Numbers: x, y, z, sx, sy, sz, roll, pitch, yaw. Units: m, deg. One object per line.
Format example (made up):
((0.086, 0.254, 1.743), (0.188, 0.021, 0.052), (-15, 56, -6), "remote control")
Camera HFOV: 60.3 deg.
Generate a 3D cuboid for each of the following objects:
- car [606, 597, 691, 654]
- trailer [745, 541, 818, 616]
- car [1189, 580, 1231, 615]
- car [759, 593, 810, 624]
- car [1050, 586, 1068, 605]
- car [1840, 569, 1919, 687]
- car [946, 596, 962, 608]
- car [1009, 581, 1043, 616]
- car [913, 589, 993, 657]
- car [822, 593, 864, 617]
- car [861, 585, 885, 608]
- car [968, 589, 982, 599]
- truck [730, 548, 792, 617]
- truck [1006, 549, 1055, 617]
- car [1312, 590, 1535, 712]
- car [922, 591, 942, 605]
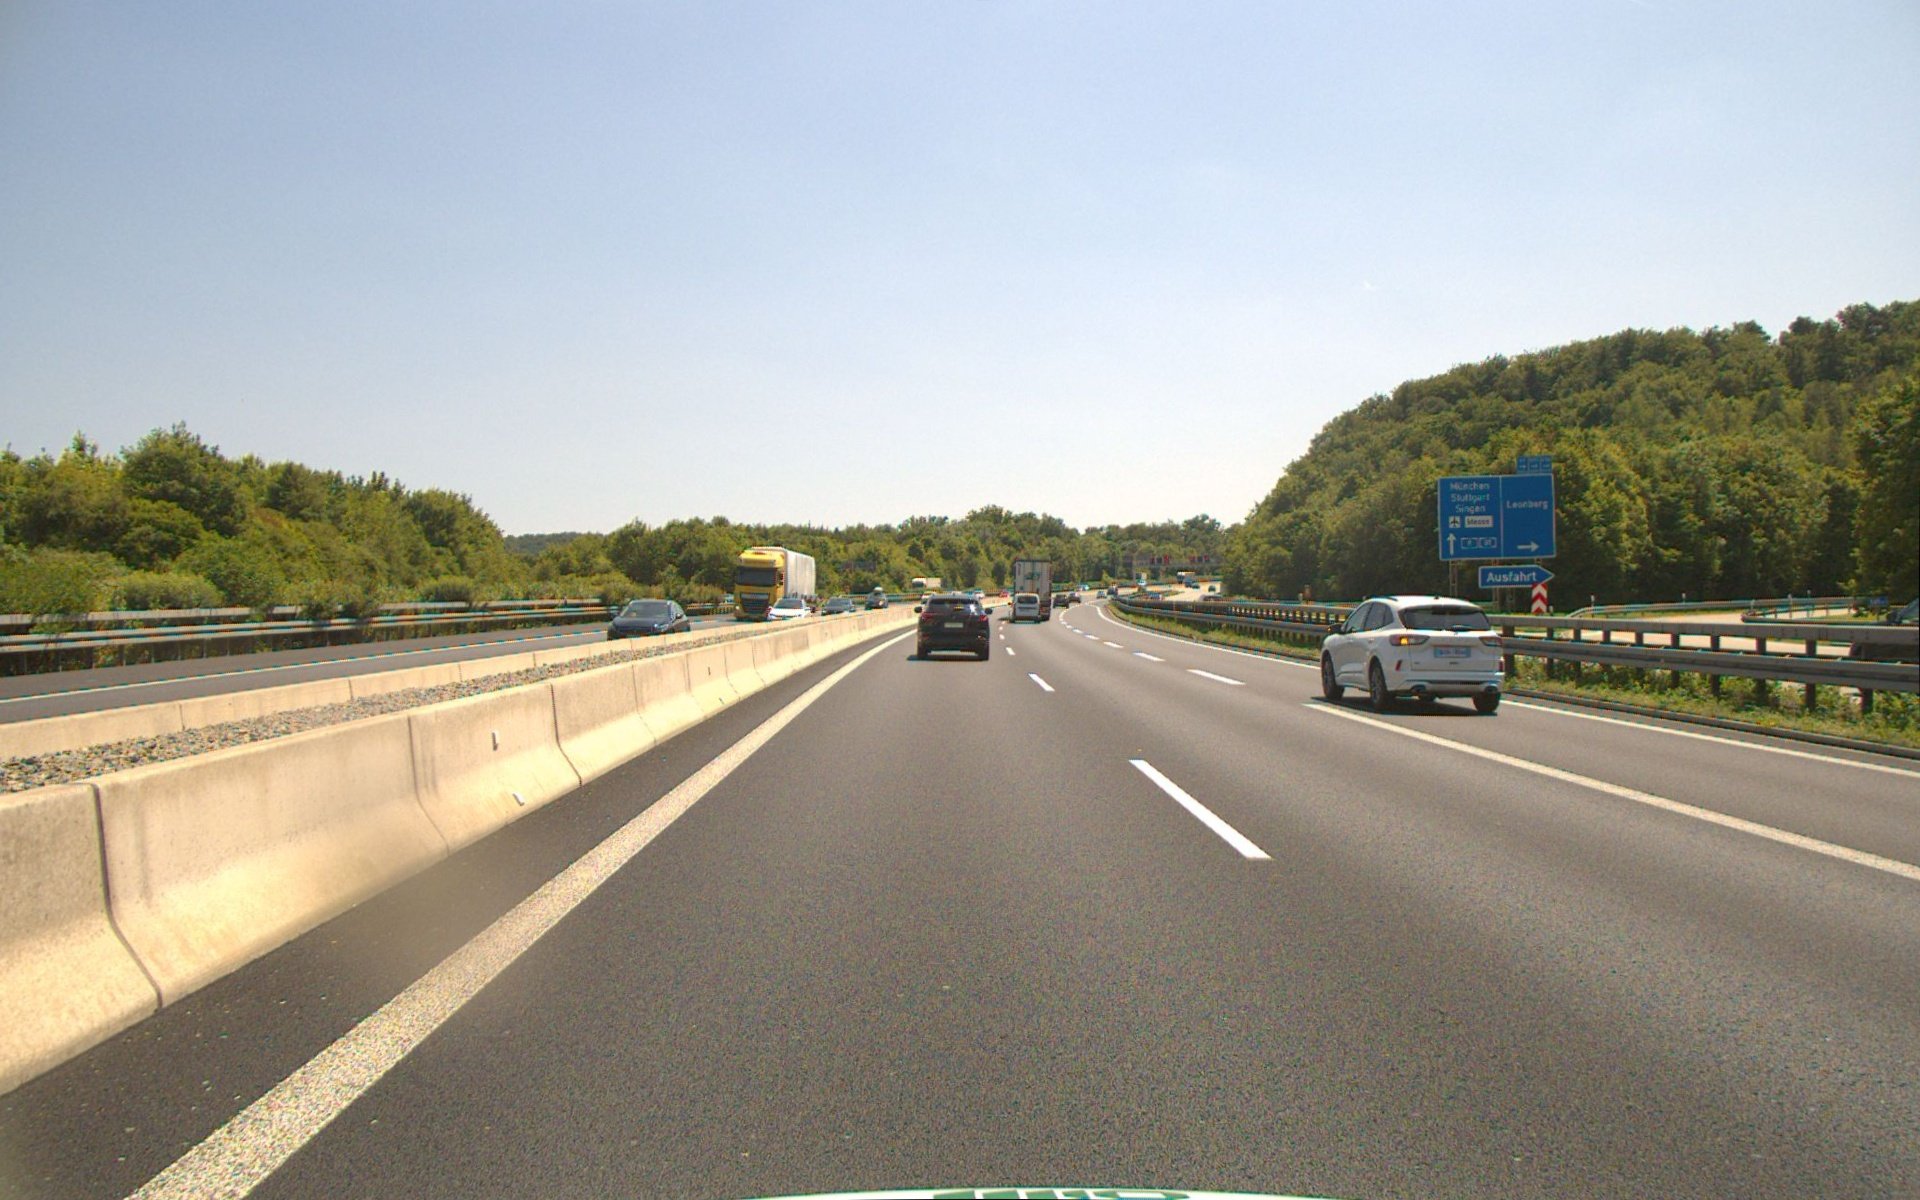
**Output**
((-8.889, 0.705, 47.468), (1.694, 1.563, 4.611), (1, 0, -2), "car")
((-11.065, -1.236, 104.038), (2.661, 4.387, 12.827), (0, 0, 2), "trailer")
((15.472, -0.153, 102.365), (1.953, 2.049, 4.000), (-1, 0, 0), "car")
((-8.270, 0.389, 78.161), (1.953, 1.398, 4.662), (0, 0, -1), "car")
((11.244, -0.489, 187.614), (1.952, 2.049, 4.002), (0, 0, 3), "car")
((14.824, 0.405, 22.955), (1.954, 1.691, 5.622), (1, 0, -4), "car")
((-0.868, 0.318, 229.930), (1.952, 1.570, 5.043), (0, 0, 3), "car")
((4.088, -0.085, 102.154), (1.952, 2.048, 4.001), (-3, 0, 2), "car")
((-0.219, 0.563, 41.571), (1.744, 1.605, 3.997), (1, 0, -4), "car")
((-6.908, 0.318, 98.286), (1.952, 1.373, 4.260), (0, 0, 3), "car")
((-8.047, -0.298, 153.667), (1.952, 2.117, 4.704), (0, 0, 1), "car")
((2.326, -0.948, 257.489), (1.811, 1.419, 4.002), (2, 0, 4), "car")
((-11.418, -0.976, 95.159), (2.692, 3.820, 4.867), (0, 0, 3), "truck")
((5.038, -1.089, 115.736), (2.968, 4.496, 12.025), (0, 0, 4), "truck")
((6.978, 0.723, 25.412), (1.954, 1.691, 4.465), (1, 0, -3), "car")
((-3.375, -0.265, 200.223), (1.829, 1.695, 4.667), (0, 0, 6), "car")
